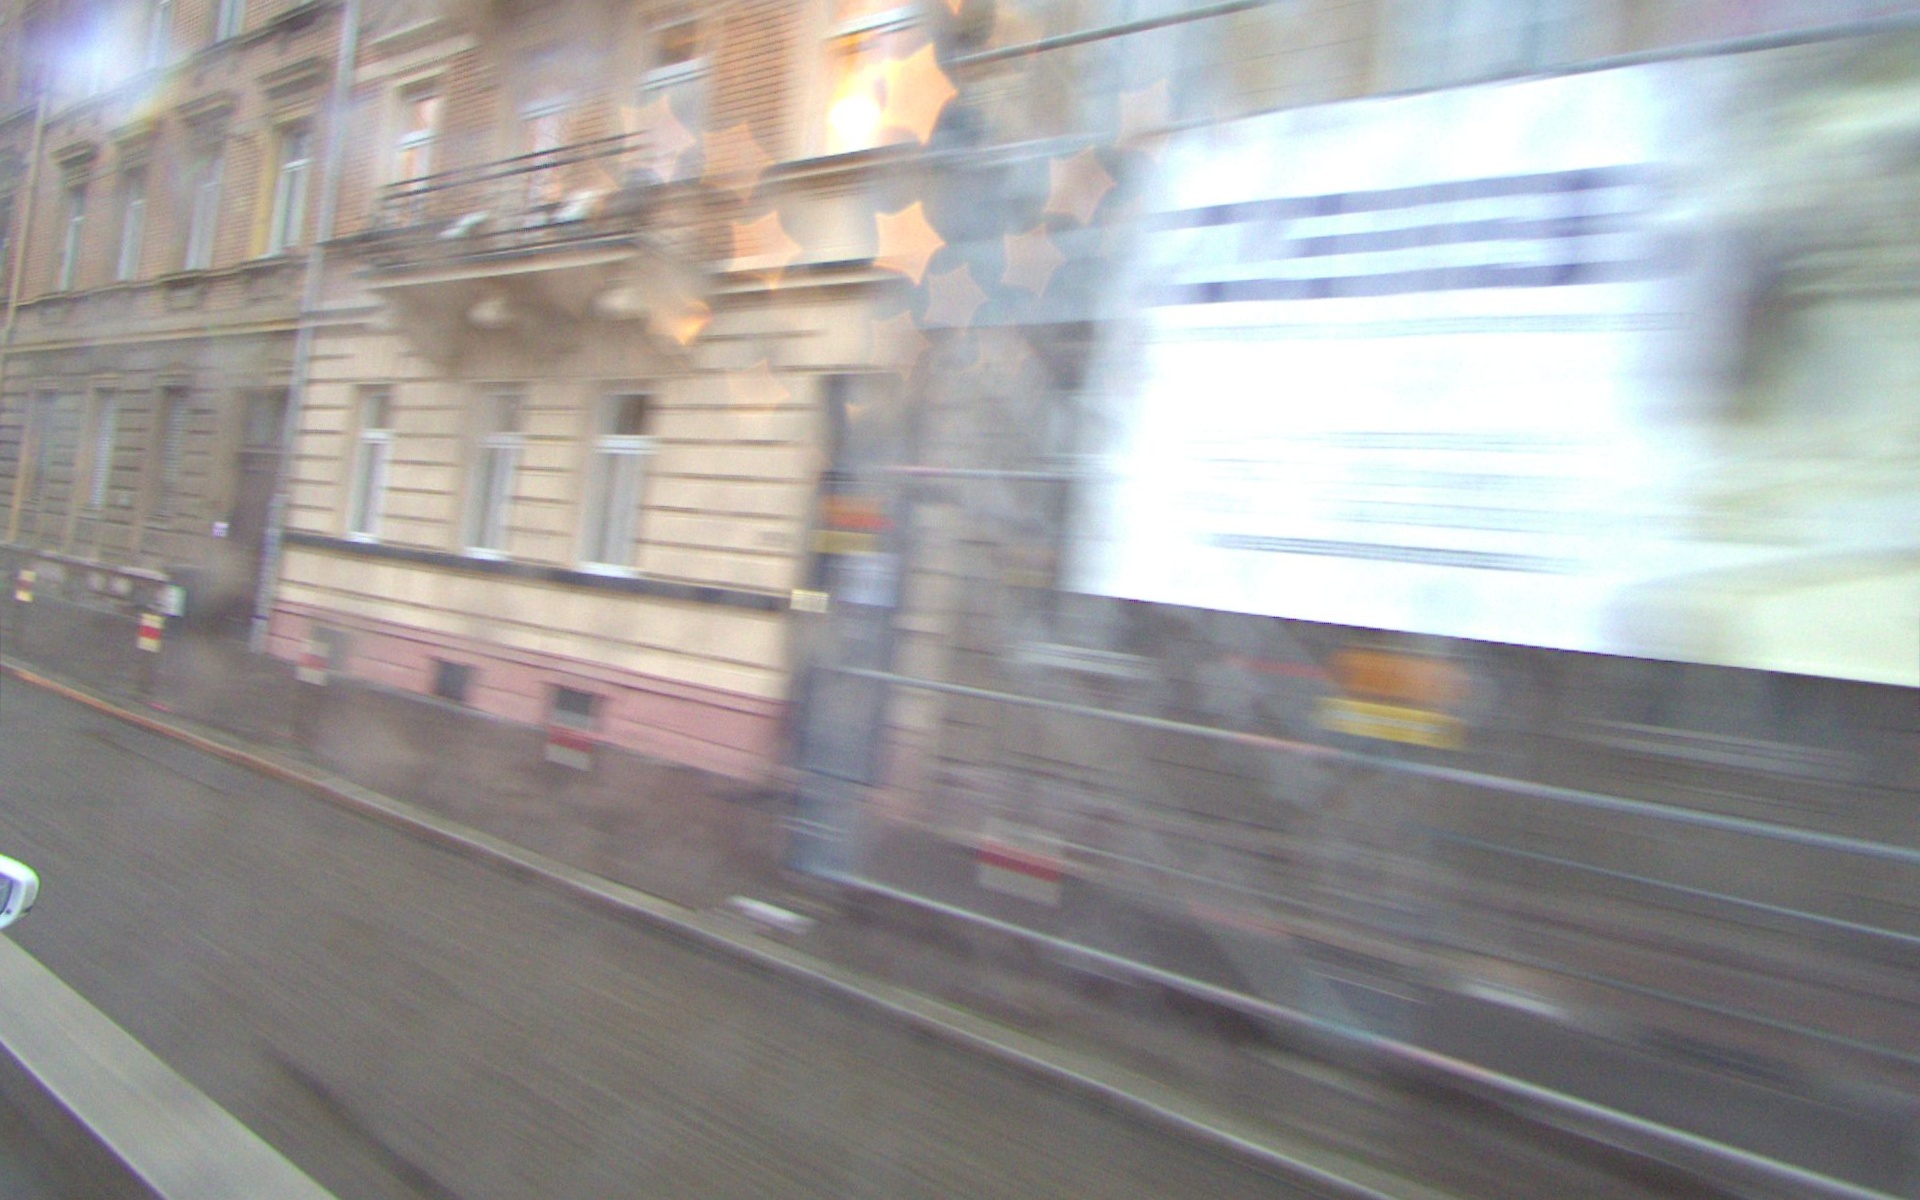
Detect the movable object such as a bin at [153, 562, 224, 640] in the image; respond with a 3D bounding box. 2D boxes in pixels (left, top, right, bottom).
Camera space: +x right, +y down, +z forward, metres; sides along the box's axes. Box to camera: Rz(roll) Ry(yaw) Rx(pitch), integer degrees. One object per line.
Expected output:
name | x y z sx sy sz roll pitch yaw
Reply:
movable object such as a bin | -10.261 0.022 13.381 0.499 0.942 0.507 7 -1 30
